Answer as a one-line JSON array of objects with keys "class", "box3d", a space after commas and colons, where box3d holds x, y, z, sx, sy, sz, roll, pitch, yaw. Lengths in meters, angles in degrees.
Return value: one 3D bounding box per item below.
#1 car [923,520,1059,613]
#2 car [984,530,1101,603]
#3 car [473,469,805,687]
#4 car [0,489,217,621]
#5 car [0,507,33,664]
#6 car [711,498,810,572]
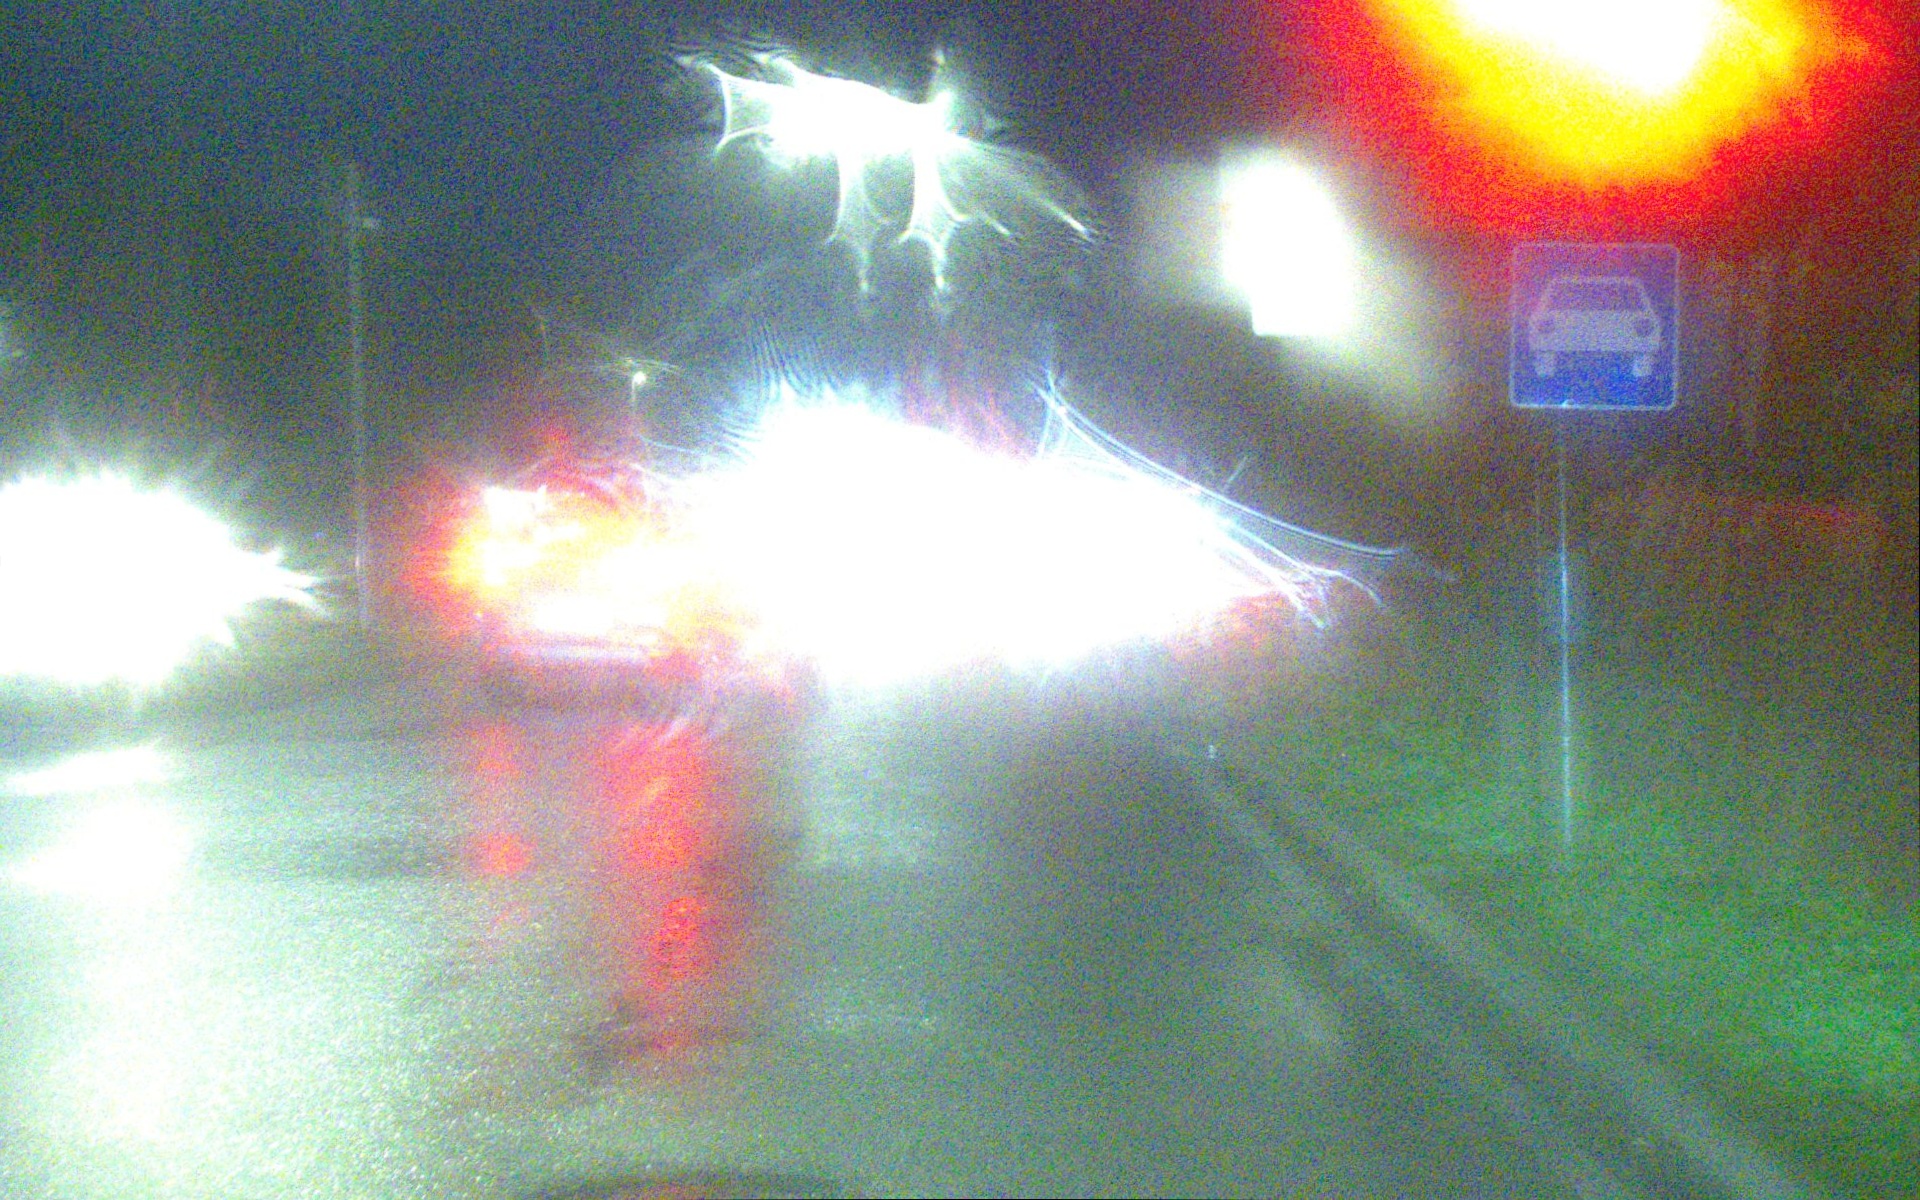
[{"class": "car", "box3d": [0.483, -0.525, 55.104, 2.103, 1.434, 4.000, 0, 0, 0]}, {"class": "car", "box3d": [1.521, -0.624, 65.010, 2.107, 1.335, 4.294, 0, 0, 0]}, {"class": "car", "box3d": [-2.469, -0.176, 27.443, 1.994, 1.605, 4.102, 0, 0, 4]}, {"class": "car", "box3d": [-10.245, -0.535, 41.403, 1.585, 1.520, 3.651, 0, 0, 4]}, {"class": "car", "box3d": [-10.546, -0.118, 33.056, 1.699, 1.566, 4.711, 0, 1, 4]}, {"class": "car", "box3d": [-4.649, -1.513, 80.655, 1.718, 1.697, 4.142, 0, 1, 5]}]
